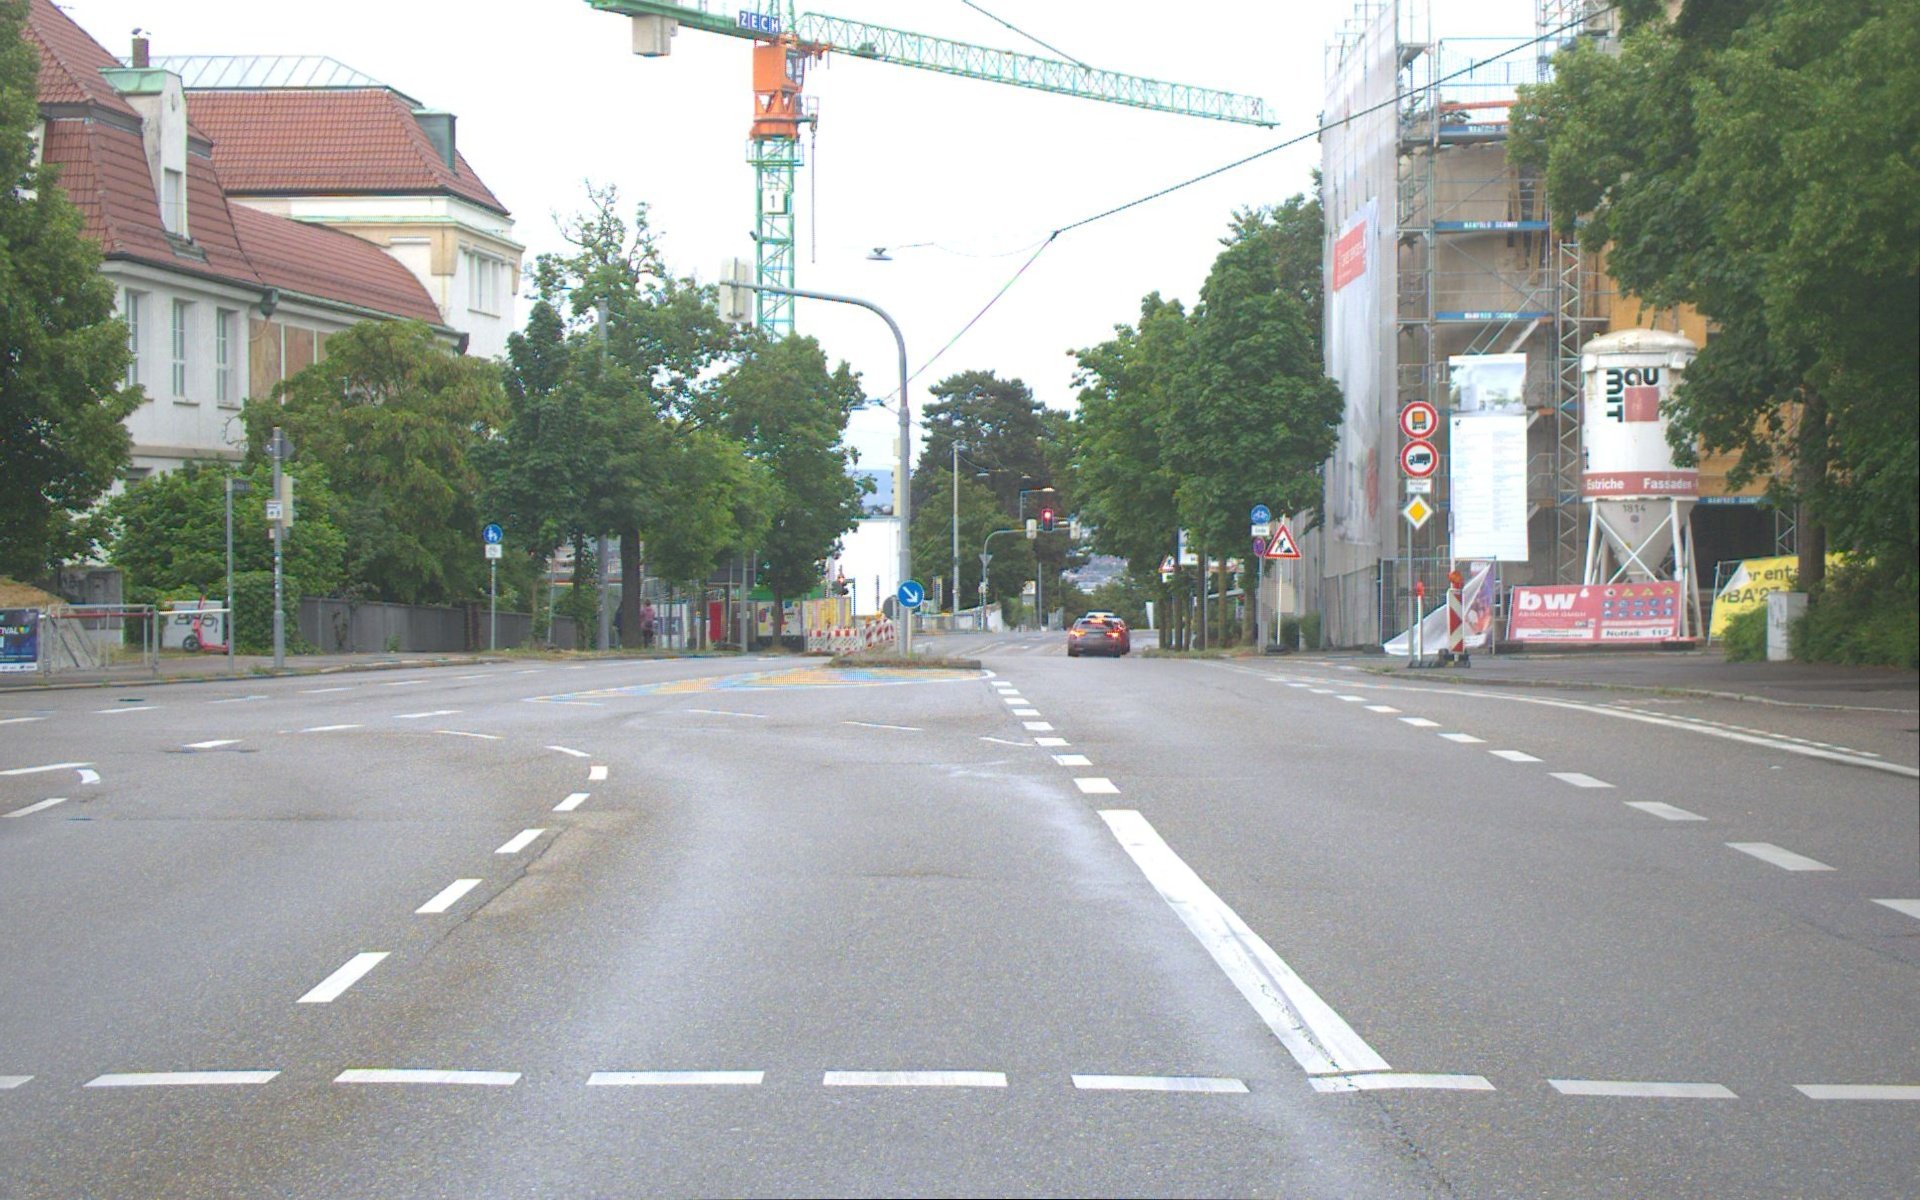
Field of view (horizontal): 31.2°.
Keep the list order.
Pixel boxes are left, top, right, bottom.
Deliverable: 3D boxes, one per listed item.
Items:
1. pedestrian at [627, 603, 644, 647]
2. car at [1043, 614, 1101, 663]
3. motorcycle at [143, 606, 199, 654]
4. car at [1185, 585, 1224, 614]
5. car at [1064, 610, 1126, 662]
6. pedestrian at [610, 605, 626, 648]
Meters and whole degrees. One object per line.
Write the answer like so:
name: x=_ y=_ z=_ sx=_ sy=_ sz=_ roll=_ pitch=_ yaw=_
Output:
pedestrian: x=-10.427 y=0.801 z=110.440 sx=0.474 sy=1.391 sz=0.411 roll=0 pitch=1 yaw=-1
car: x=4.236 y=1.445 z=131.021 sx=1.993 sy=1.744 sz=4.000 roll=-1 pitch=1 yaw=-1
motorcycle: x=-14.891 y=0.561 z=64.887 sx=0.849 sy=0.874 sz=0.877 roll=1 pitch=0 yaw=-1
car: x=15.597 y=-0.031 z=219.352 sx=1.994 sy=1.744 sz=3.998 roll=-1 pitch=1 yaw=11
car: x=4.826 y=1.280 z=123.470 sx=1.993 sy=1.744 sz=4.000 roll=-1 pitch=1 yaw=-1
pedestrian: x=-10.998 y=0.855 z=110.484 sx=0.474 sy=1.391 sz=0.411 roll=0 pitch=1 yaw=-1
